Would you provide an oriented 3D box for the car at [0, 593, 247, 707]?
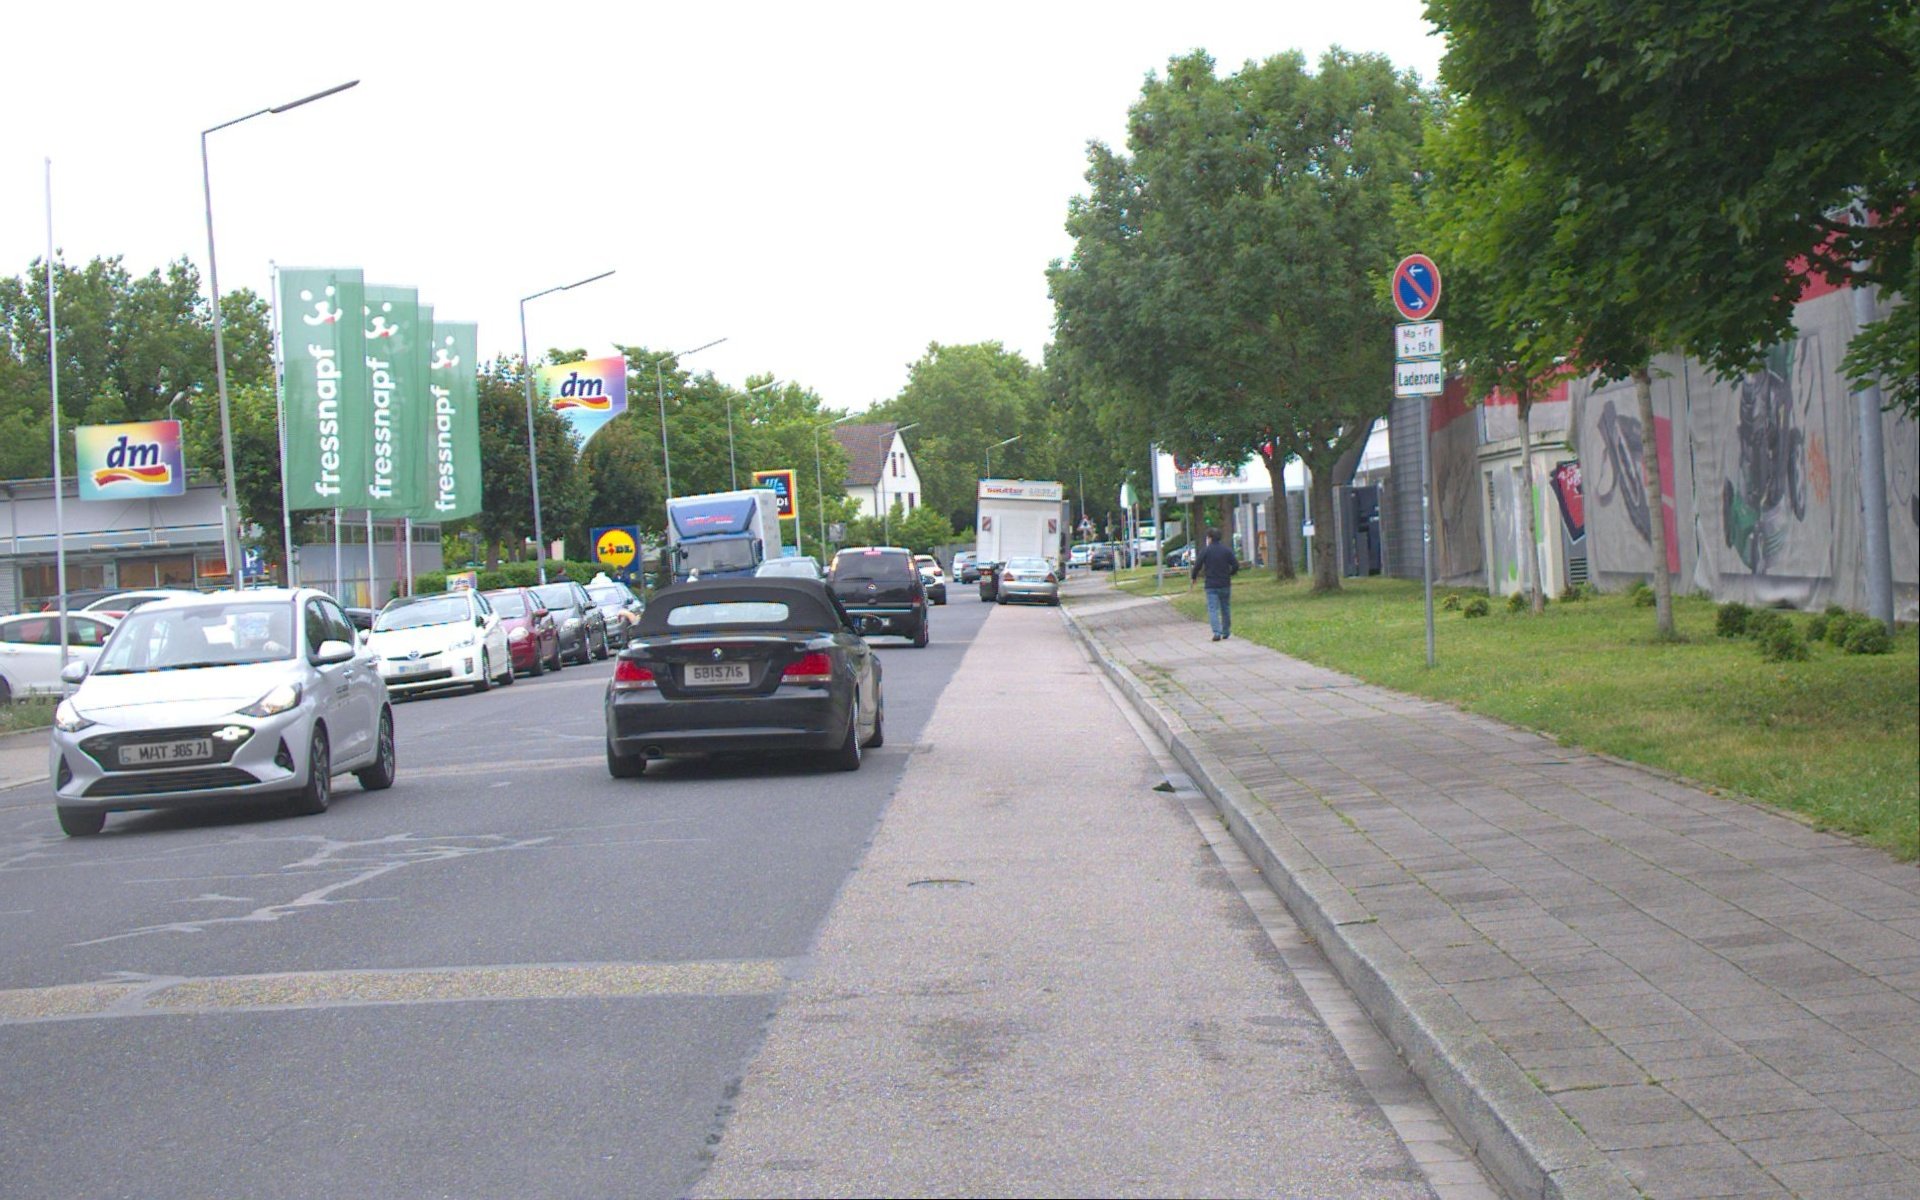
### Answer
[{"bbox_3d":[-13.091,0.765,52.116,4.202,1.458,1.953,-4,1,-6],"label":"car"}]

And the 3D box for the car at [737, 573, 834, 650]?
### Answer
[{"bbox_3d":[-3.997,0.250,79.216,1.993,1.678,4.000,-2,0,0],"label":"car"}]

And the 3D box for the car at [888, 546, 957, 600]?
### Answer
[{"bbox_3d":[-1.107,-0.825,103.427,1.886,1.526,4.254,-1,1,2],"label":"car"}]

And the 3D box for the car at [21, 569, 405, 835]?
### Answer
[{"bbox_3d":[-4.907,0.620,23.035,1.599,1.523,3.528,-5,0,2],"label":"car"}]

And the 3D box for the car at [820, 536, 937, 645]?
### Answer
[{"bbox_3d":[-1.353,-0.166,55.996,1.681,1.626,3.759,-3,1,-3],"label":"car"}]

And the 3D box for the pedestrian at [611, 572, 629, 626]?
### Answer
[{"bbox_3d":[-9.665,-0.035,97.638,0.401,1.526,0.485,-4,1,-5],"label":"pedestrian"}]

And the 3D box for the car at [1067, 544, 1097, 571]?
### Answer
[{"bbox_3d":[7.726,-2.696,217.835,1.886,1.677,4.254,-1,1,2],"label":"car"}]

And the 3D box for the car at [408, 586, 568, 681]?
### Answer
[{"bbox_3d":[-7.674,0.523,56.238,1.898,1.362,4.000,-3,1,1],"label":"car"}]

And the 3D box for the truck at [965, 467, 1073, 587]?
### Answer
[{"bbox_3d":[1.805,-2.239,109.433,3.135,3.572,10.050,-2,0,0],"label":"truck"}]

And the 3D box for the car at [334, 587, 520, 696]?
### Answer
[{"bbox_3d":[-7.635,0.570,49.615,1.898,1.362,4.000,-4,1,1],"label":"car"}]

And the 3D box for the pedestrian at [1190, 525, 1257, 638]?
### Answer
[{"bbox_3d":[3.881,-0.269,50.785,0.919,1.629,0.852,-2,0,3],"label":"pedestrian"}]

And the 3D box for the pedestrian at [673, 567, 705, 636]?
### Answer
[{"bbox_3d":[-6.656,0.036,84.449,0.631,1.631,0.668,-4,1,0],"label":"pedestrian"}]

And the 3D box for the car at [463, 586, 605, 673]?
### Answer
[{"bbox_3d":[-7.607,0.498,61.731,1.898,1.362,4.000,-3,1,1],"label":"car"}]

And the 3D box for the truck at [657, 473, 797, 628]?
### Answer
[{"bbox_3d":[-6.389,-1.376,95.171,2.974,3.942,6.404,-5,1,2],"label":"truck"}]

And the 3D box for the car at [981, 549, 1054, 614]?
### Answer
[{"bbox_3d":[1.657,-0.529,100.208,1.993,1.800,4.000,-2,0,0],"label":"car"}]

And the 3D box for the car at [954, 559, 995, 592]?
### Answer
[{"bbox_3d":[0.724,-1.207,167.708,1.886,1.526,4.254,-1,1,2],"label":"car"}]

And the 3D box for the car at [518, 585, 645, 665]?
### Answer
[{"bbox_3d":[-7.388,0.468,67.485,1.898,1.362,4.000,-3,1,1],"label":"car"}]

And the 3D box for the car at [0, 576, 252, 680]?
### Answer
[{"bbox_3d":[-14.026,0.458,57.084,4.135,1.458,1.899,-4,1,-4],"label":"car"}]

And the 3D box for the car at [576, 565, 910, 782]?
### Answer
[{"bbox_3d":[-1.475,0.473,24.885,1.746,1.354,4.137,-3,0,5],"label":"car"}]
